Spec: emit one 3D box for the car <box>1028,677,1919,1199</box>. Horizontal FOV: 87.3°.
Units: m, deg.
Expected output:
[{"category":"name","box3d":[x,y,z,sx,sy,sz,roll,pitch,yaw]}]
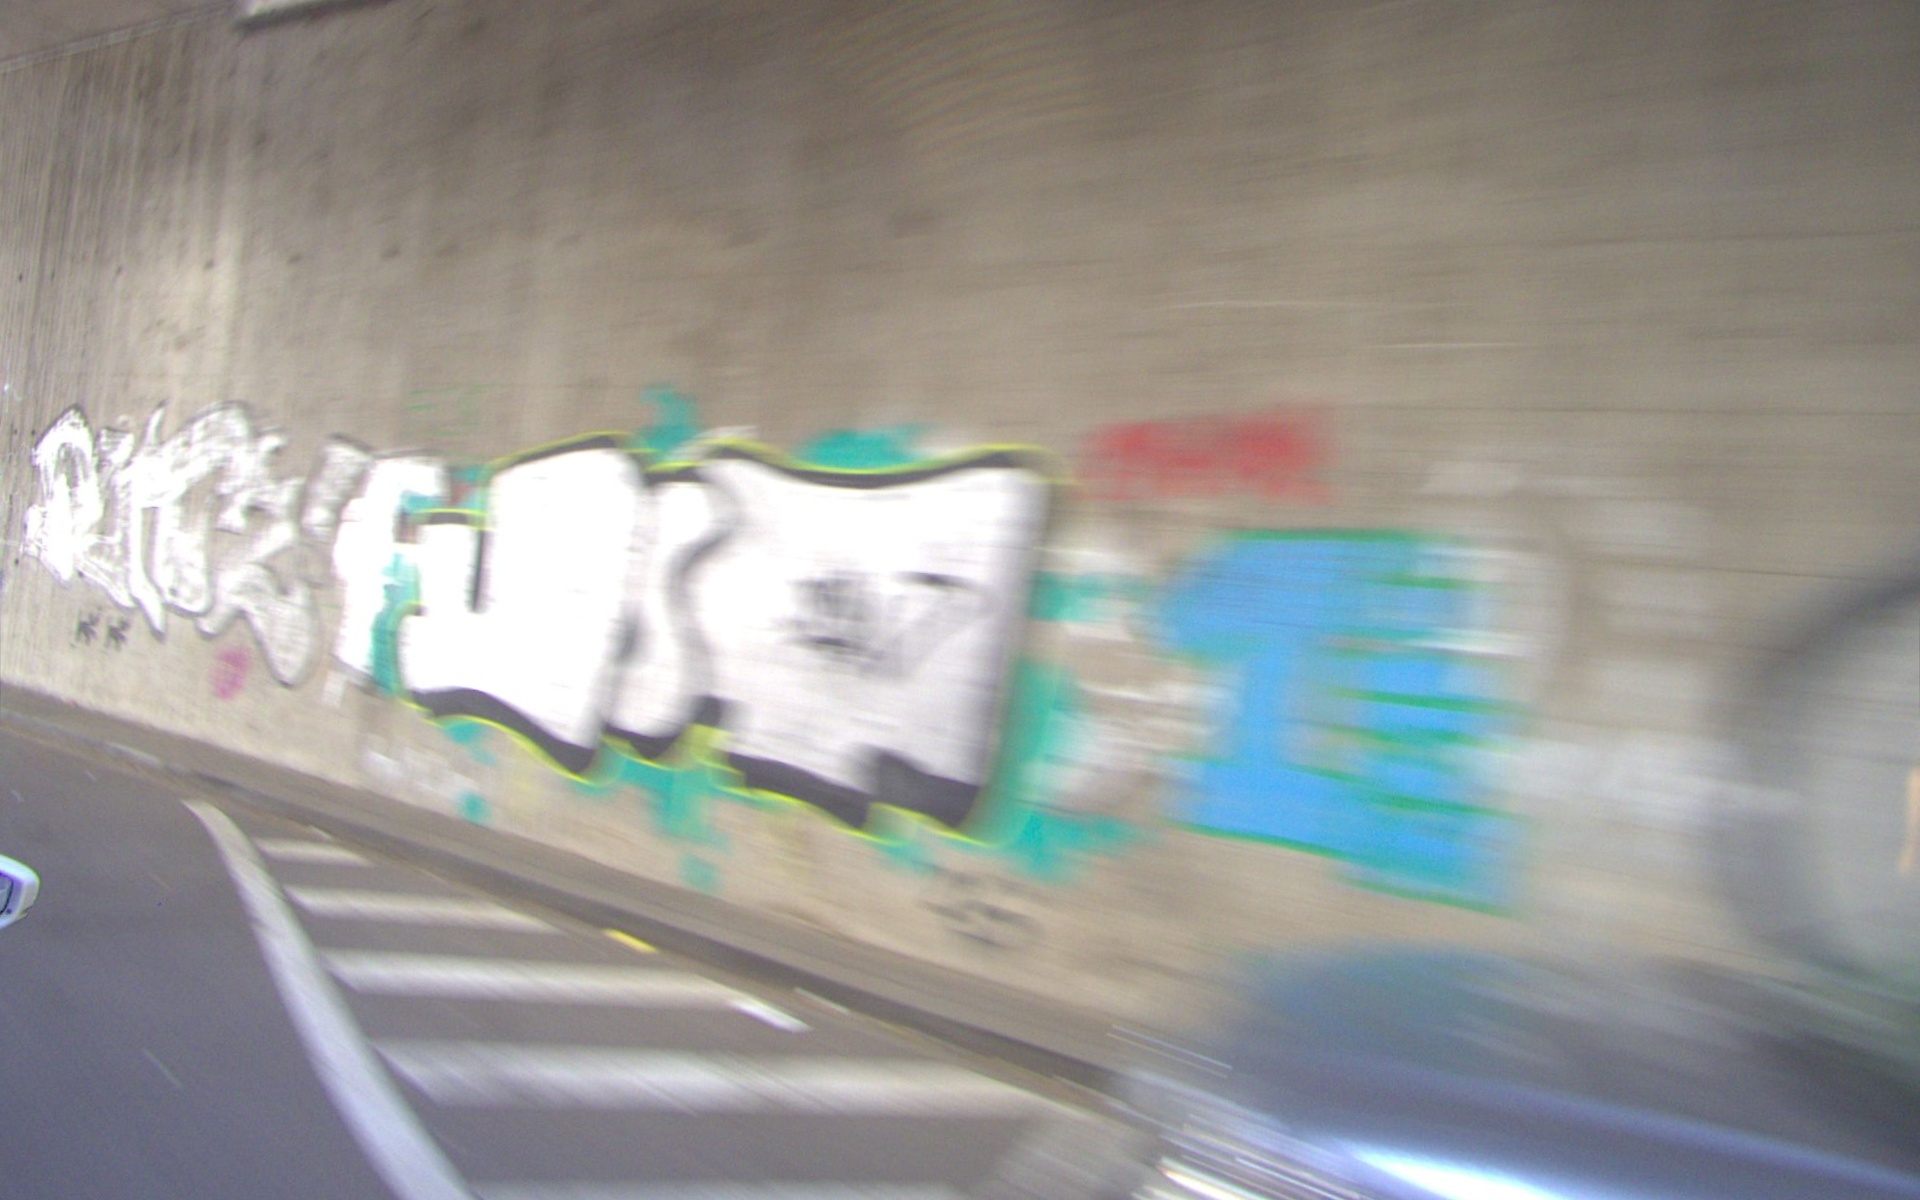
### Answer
[{"category":"car","box3d":[2.402,1.118,1.450,4.295,1.390,1.707,7,-2,25]}]
